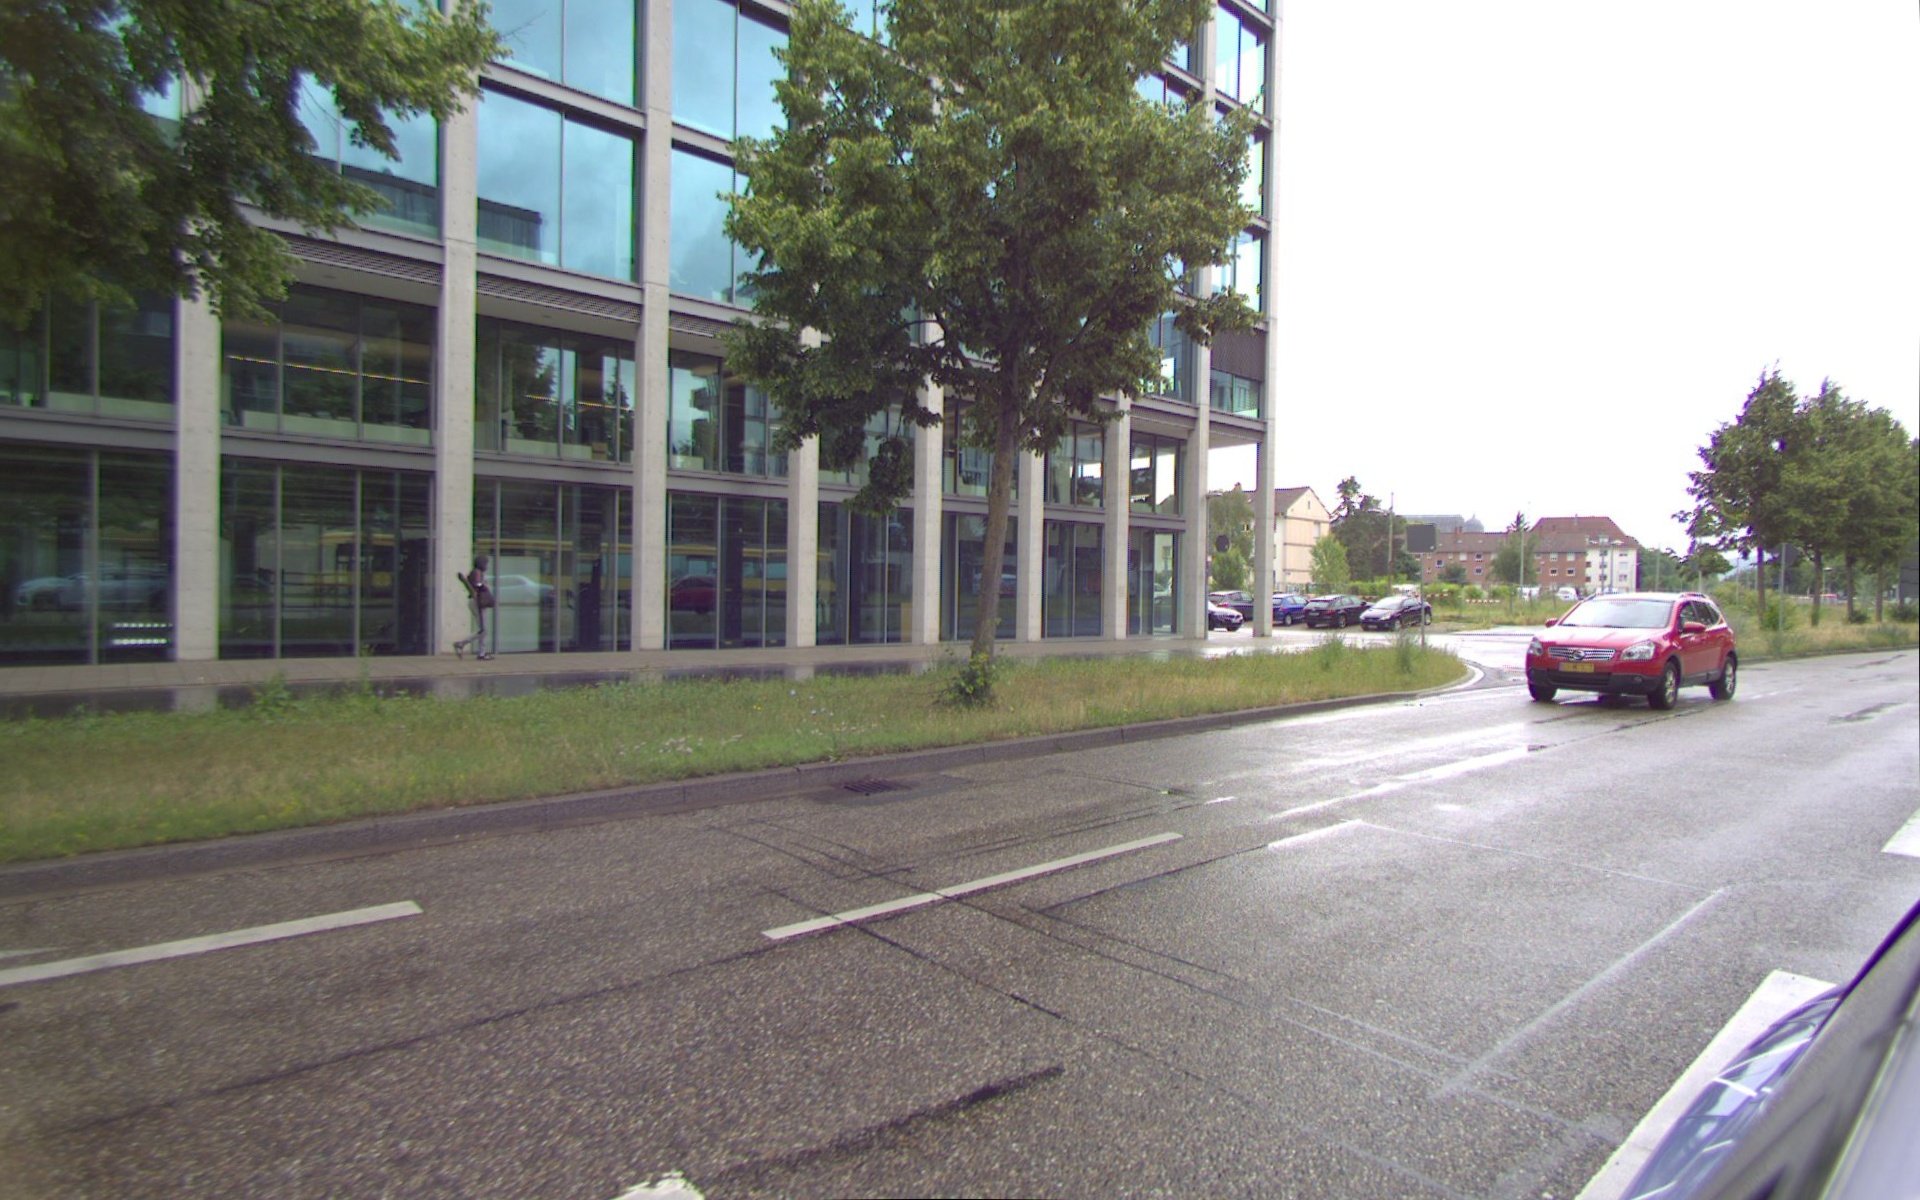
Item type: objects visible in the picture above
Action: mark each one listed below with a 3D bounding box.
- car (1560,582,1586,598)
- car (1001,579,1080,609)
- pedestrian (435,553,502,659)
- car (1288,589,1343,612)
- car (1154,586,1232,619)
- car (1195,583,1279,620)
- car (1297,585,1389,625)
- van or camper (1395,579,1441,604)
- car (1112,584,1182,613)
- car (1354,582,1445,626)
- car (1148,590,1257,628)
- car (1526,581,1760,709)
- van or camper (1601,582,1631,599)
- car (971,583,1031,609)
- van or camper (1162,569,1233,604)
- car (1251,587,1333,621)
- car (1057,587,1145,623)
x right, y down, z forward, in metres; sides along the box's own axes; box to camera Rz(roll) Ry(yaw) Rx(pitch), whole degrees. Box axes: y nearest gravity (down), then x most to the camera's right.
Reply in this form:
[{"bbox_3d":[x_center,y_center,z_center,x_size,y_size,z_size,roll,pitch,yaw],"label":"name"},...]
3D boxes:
[{"bbox_3d":[91.187,-1.503,150.474,4.682,2.248,2.273,0,0,-45],"label":"car"},{"bbox_3d":[4.044,-0.322,51.414,1.825,1.390,4.000,2,0,-35],"label":"car"},{"bbox_3d":[-8.350,0.088,17.186,0.846,1.736,0.718,0,2,-41],"label":"pedestrian"},{"bbox_3d":[26.071,0.019,74.228,3.924,1.621,1.861,0,1,-36],"label":"car"},{"bbox_3d":[12.549,0.104,54.432,4.152,1.492,1.791,-5,3,-35],"label":"car"},{"bbox_3d":[14.401,0.053,52.516,4.335,1.621,1.861,-5,3,-35],"label":"car"},{"bbox_3d":[17.984,0.200,47.417,4.474,1.472,1.861,-6,4,-35],"label":"car"},{"bbox_3d":[50.286,-0.944,111.018,6.290,2.722,2.311,0,1,-43],"label":"van or camper"},{"bbox_3d":[11.022,-0.082,59.474,3.924,1.621,1.861,0,1,-36],"label":"car"},{"bbox_3d":[19.608,0.162,45.111,3.926,1.599,1.862,-6,3,-33],"label":"car"},{"bbox_3d":[10.209,0.351,42.805,1.943,1.456,4.232,2,0,-35],"label":"car"},{"bbox_3d":[10.287,0.568,15.134,4.170,1.632,1.798,0,2,-40],"label":"car"},{"bbox_3d":[92.768,-1.277,143.085,6.046,2.337,2.204,0,-1,-44],"label":"van or camper"},{"bbox_3d":[2.866,-0.293,70.321,3.967,1.514,1.857,-5,4,-43],"label":"car"},{"bbox_3d":[21.497,-1.181,91.349,6.658,3.031,2.912,0,1,-41],"label":"van or camper"},{"bbox_3d":[16.408,0.160,49.983,3.926,1.472,1.861,-3,3,-36],"label":"car"},{"bbox_3d":[6.584,0.217,47.631,1.826,1.507,3.999,3,-1,-36],"label":"car"}]
